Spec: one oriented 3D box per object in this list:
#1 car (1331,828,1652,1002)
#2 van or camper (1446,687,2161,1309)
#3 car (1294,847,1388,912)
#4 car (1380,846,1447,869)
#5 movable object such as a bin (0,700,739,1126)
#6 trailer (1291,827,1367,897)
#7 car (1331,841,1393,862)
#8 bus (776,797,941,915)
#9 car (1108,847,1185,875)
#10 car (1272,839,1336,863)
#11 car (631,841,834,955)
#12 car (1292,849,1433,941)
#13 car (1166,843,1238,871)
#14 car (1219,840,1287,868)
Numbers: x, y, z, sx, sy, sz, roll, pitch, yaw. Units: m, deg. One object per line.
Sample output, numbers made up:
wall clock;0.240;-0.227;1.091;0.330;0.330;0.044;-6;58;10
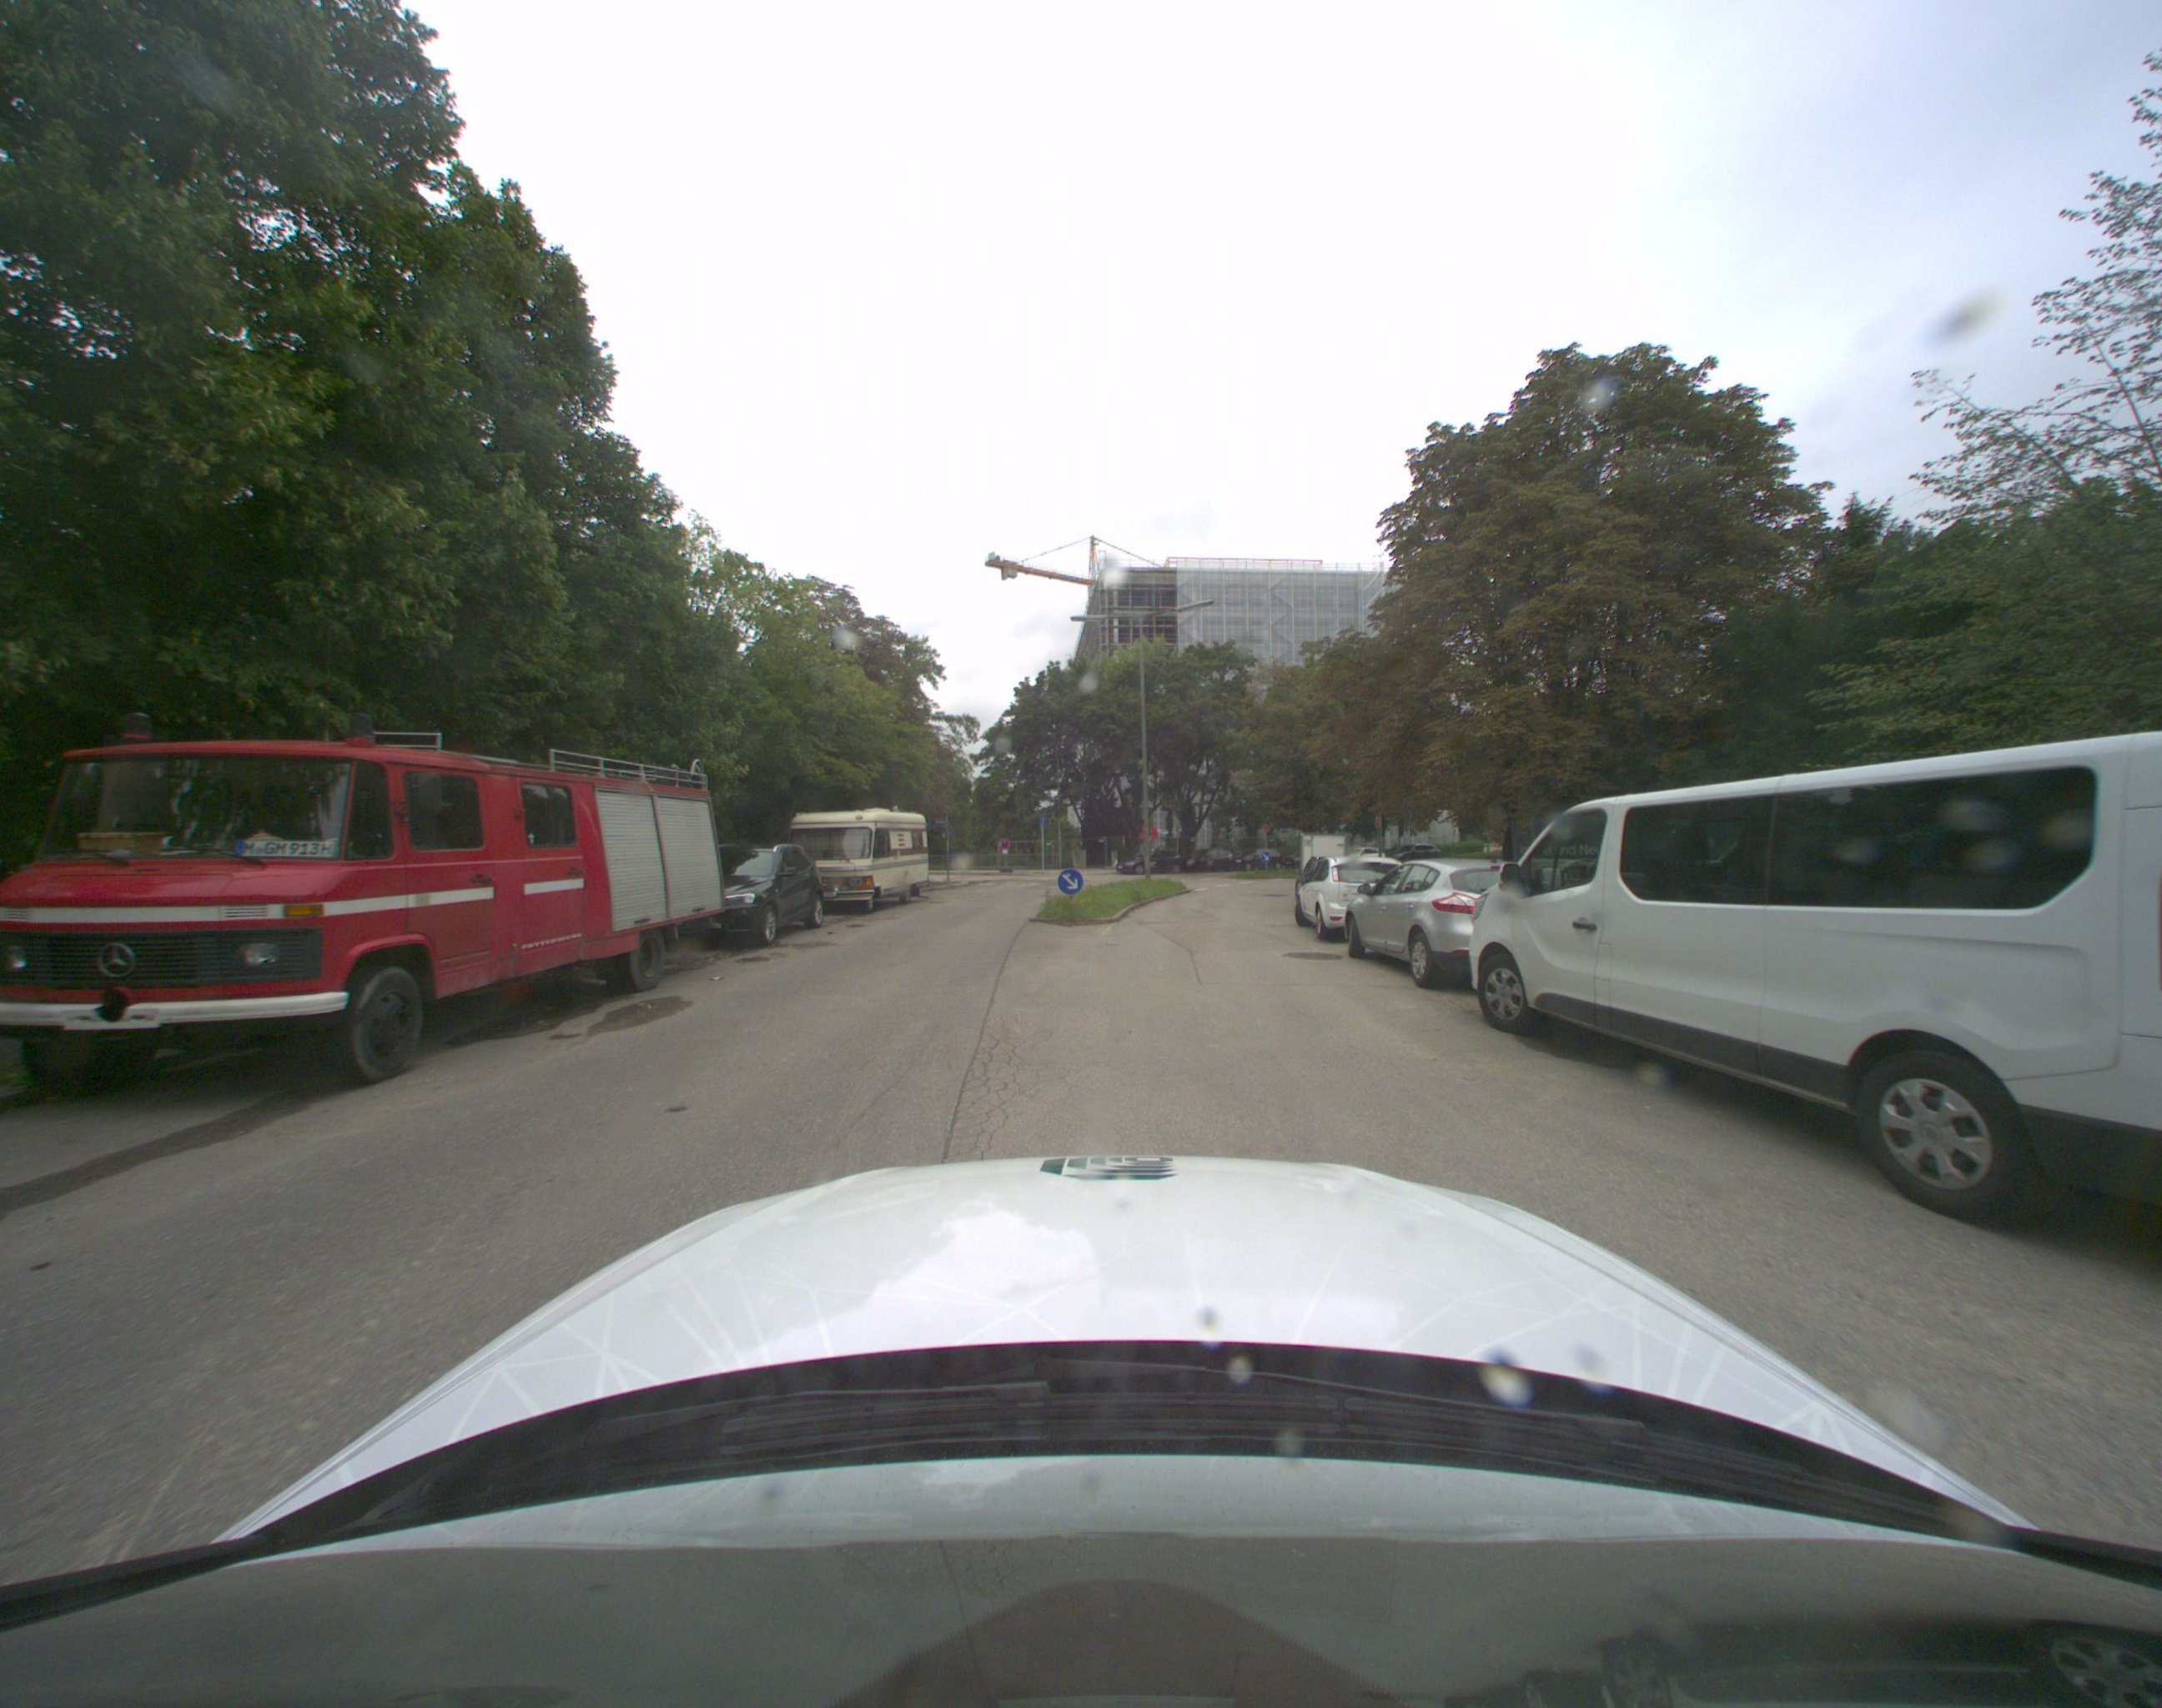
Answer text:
car;4.760;0.604;10.327;1.986;1.728;4.452;0;0;2
van or camper;4.511;0.445;5.191;1.987;2.013;5.377;-1;0;1
car;6.604;0.583;21.139;1.859;1.437;4.343;-2;0;12
car;24.038;0.288;58.899;4.397;1.606;1.879;0;-1;-21
movable object such as a bin;-5.680;0.317;7.868;2.098;2.458;6.185;-1;0;0
trailer;8.007;0.230;26.015;1.793;2.013;4.860;-1;0;23
car;19.800;-0.154;57.327;4.230;1.383;1.785;-1;0;-29
bus;-5.704;0.027;21.893;2.304;2.699;5.743;-1;0;5
car;3.816;0.375;47.253;4.056;1.432;1.981;-2;2;-31
car;15.031;-0.182;54.850;4.019;1.460;1.822;-2;0;-31
car;-5.842;0.632;14.318;1.772;1.649;4.456;-1;0;-2
car;5.223;0.682;15.653;1.757;1.486;4.230;-1;0;8
car;7.349;0.184;49.493;4.013;1.541;1.980;-2;0;-31
car;11.075;-0.015;52.329;4.013;1.706;1.980;-1;0;-31
